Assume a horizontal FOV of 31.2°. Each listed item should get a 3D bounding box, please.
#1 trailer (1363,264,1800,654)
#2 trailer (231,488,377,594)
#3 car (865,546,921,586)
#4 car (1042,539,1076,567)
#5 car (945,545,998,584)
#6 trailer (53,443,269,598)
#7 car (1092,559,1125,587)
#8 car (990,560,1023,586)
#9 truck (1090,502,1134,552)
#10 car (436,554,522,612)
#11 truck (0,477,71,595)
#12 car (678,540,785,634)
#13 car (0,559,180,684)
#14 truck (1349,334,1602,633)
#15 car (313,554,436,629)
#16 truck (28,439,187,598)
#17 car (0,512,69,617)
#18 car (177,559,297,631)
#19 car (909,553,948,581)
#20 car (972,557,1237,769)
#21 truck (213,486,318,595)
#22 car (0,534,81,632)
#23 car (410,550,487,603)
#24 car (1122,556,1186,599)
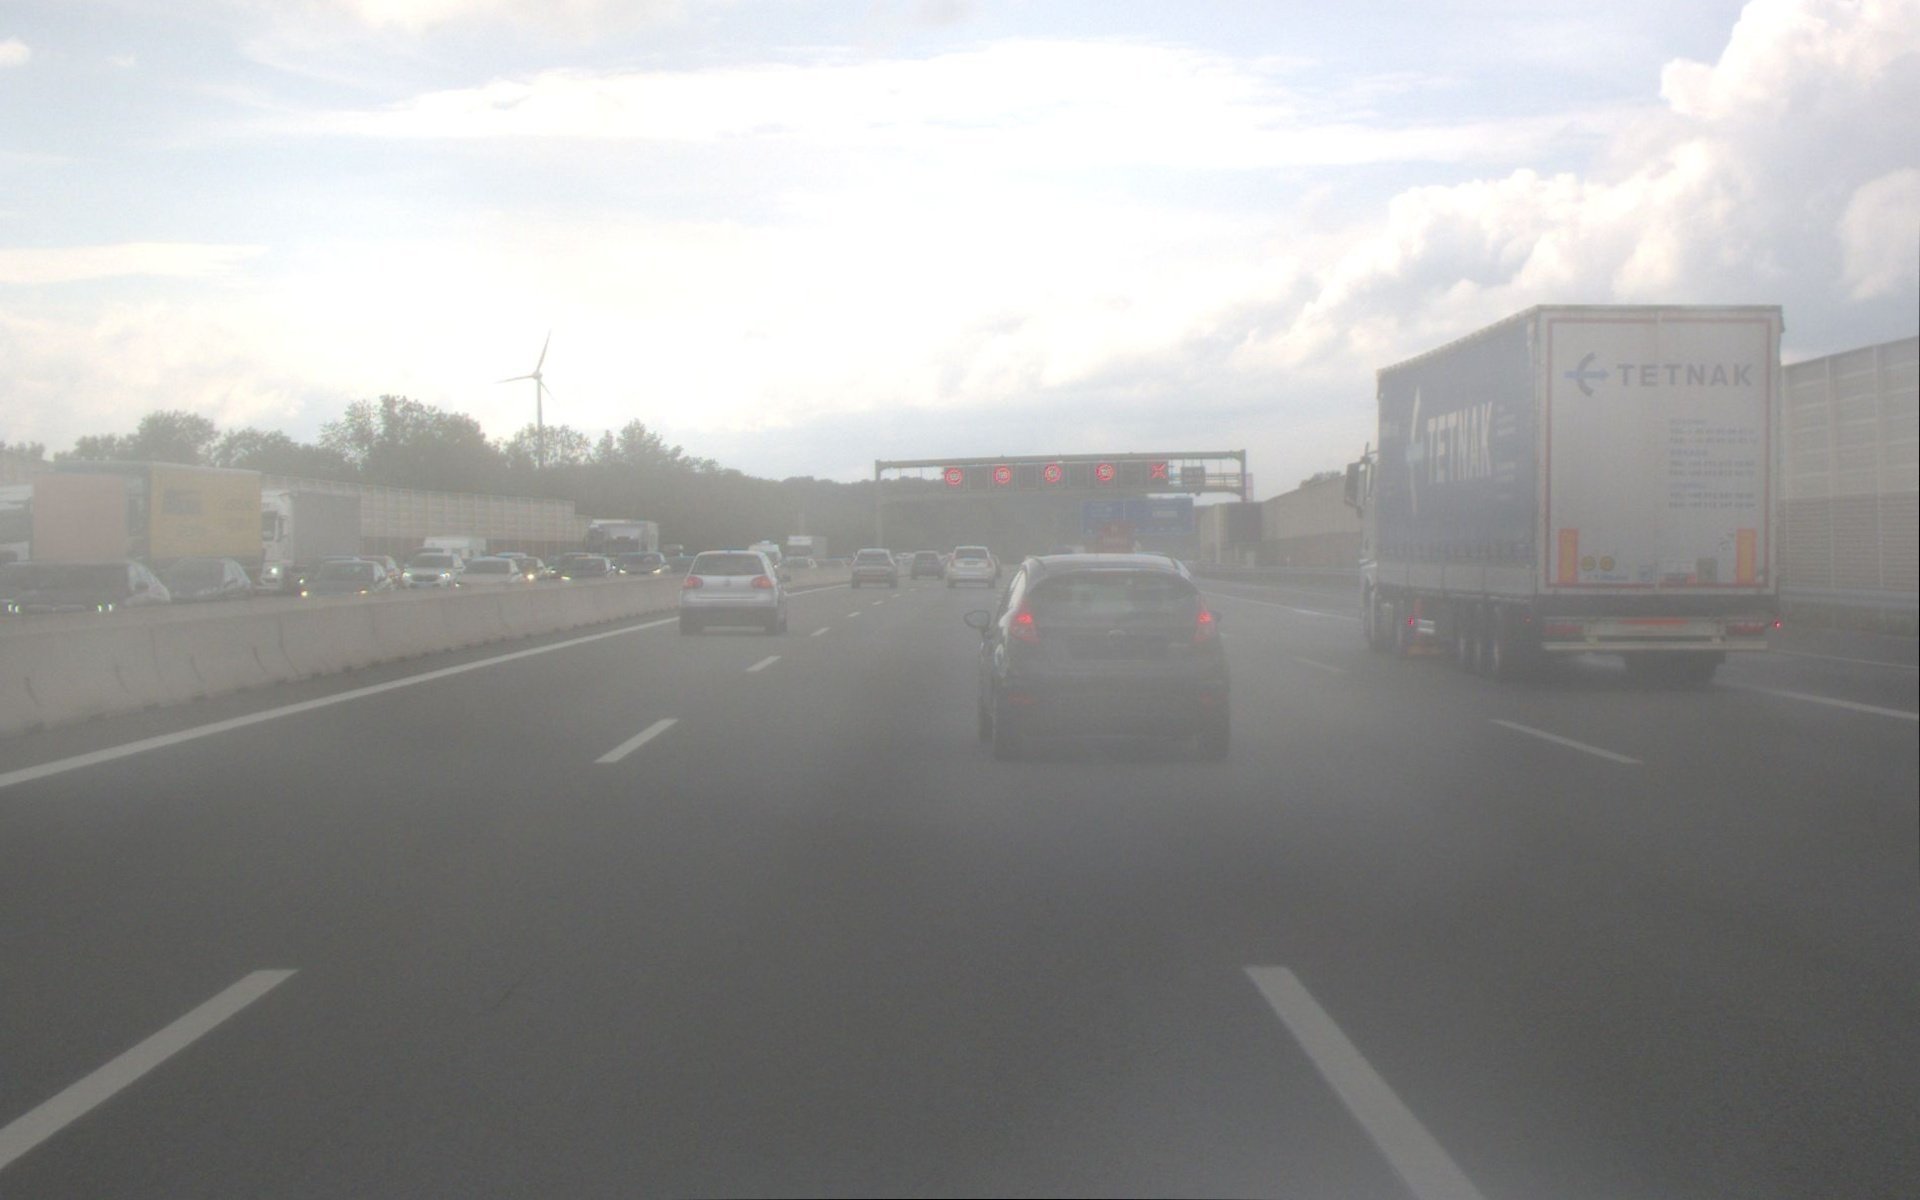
[{"bbox_3d":[7.256,-1.535,42.682,2.761,4.018,14.453,0,1,0],"label":"trailer"},{"bbox_3d":[-26.064,-2.324,137.387,2.761,4.018,14.453,0,1,1],"label":"trailer"},{"bbox_3d":[-2.765,-1.405,143.144,1.968,1.555,4.432,-1,0,3],"label":"car"},{"bbox_3d":[6.452,-3.062,223.611,1.968,1.555,4.433,2,3,5],"label":"car"},{"bbox_3d":[0.485,-1.471,143.706,1.968,1.555,4.432,-1,0,3],"label":"car"},{"bbox_3d":[-22.277,-2.152,96.854,2.761,4.018,14.453,0,1,0],"label":"trailer"},{"bbox_3d":[8.847,-1.594,204.431,1.883,1.555,4.432,-1,0,3],"label":"car"},{"bbox_3d":[2.904,-1.682,213.294,1.968,1.555,4.432,-1,0,2],"label":"car"},{"bbox_3d":[11.349,-5.399,255.945,3.153,3.589,12.698,1,1,3],"label":"truck"},{"bbox_3d":[-14.598,-0.533,104.603,2.061,1.694,4.411,0,1,-1],"label":"car"},{"bbox_3d":[-33.232,-2.200,119.872,2.917,4.021,5.726,0,1,1],"label":"truck"},{"bbox_3d":[-4.039,-0.265,61.281,1.717,1.618,4.279,0,1,-2],"label":"car"},{"bbox_3d":[-14.949,0.312,58.590,2.061,1.995,5.808,0,1,-1],"label":"car"},{"bbox_3d":[7.277,-1.599,49.220,2.745,4.021,5.726,0,1,0],"label":"truck"},{"bbox_3d":[-14.132,-0.237,83.281,2.061,1.749,5.808,0,1,-1],"label":"car"},{"bbox_3d":[-22.222,-2.085,89.836,2.745,4.021,5.726,0,1,0],"label":"truck"},{"bbox_3d":[-19.303,-0.713,67.745,2.061,1.995,5.808,0,1,-1],"label":"car"},{"bbox_3d":[-17.656,-0.155,84.094,2.061,1.694,4.411,0,1,-1],"label":"car"},{"bbox_3d":[-1.836,-1.939,201.942,1.968,1.555,4.432,-1,0,3],"label":"car"},{"bbox_3d":[0.987,0.399,25.418,1.717,1.412,4.279,0,1,-1],"label":"car"},{"bbox_3d":[-26.195,-2.222,129.902,2.745,4.021,5.726,0,1,1],"label":"truck"},{"bbox_3d":[-19.398,-0.382,69.069,2.061,1.886,5.808,0,1,-1],"label":"car"},{"bbox_3d":[-17.846,-0.853,120.163,2.061,1.810,4.779,0,1,-1],"label":"car"},{"bbox_3d":[6.679,-0.765,118.602,1.950,1.413,4.232,0,0,0],"label":"car"}]
